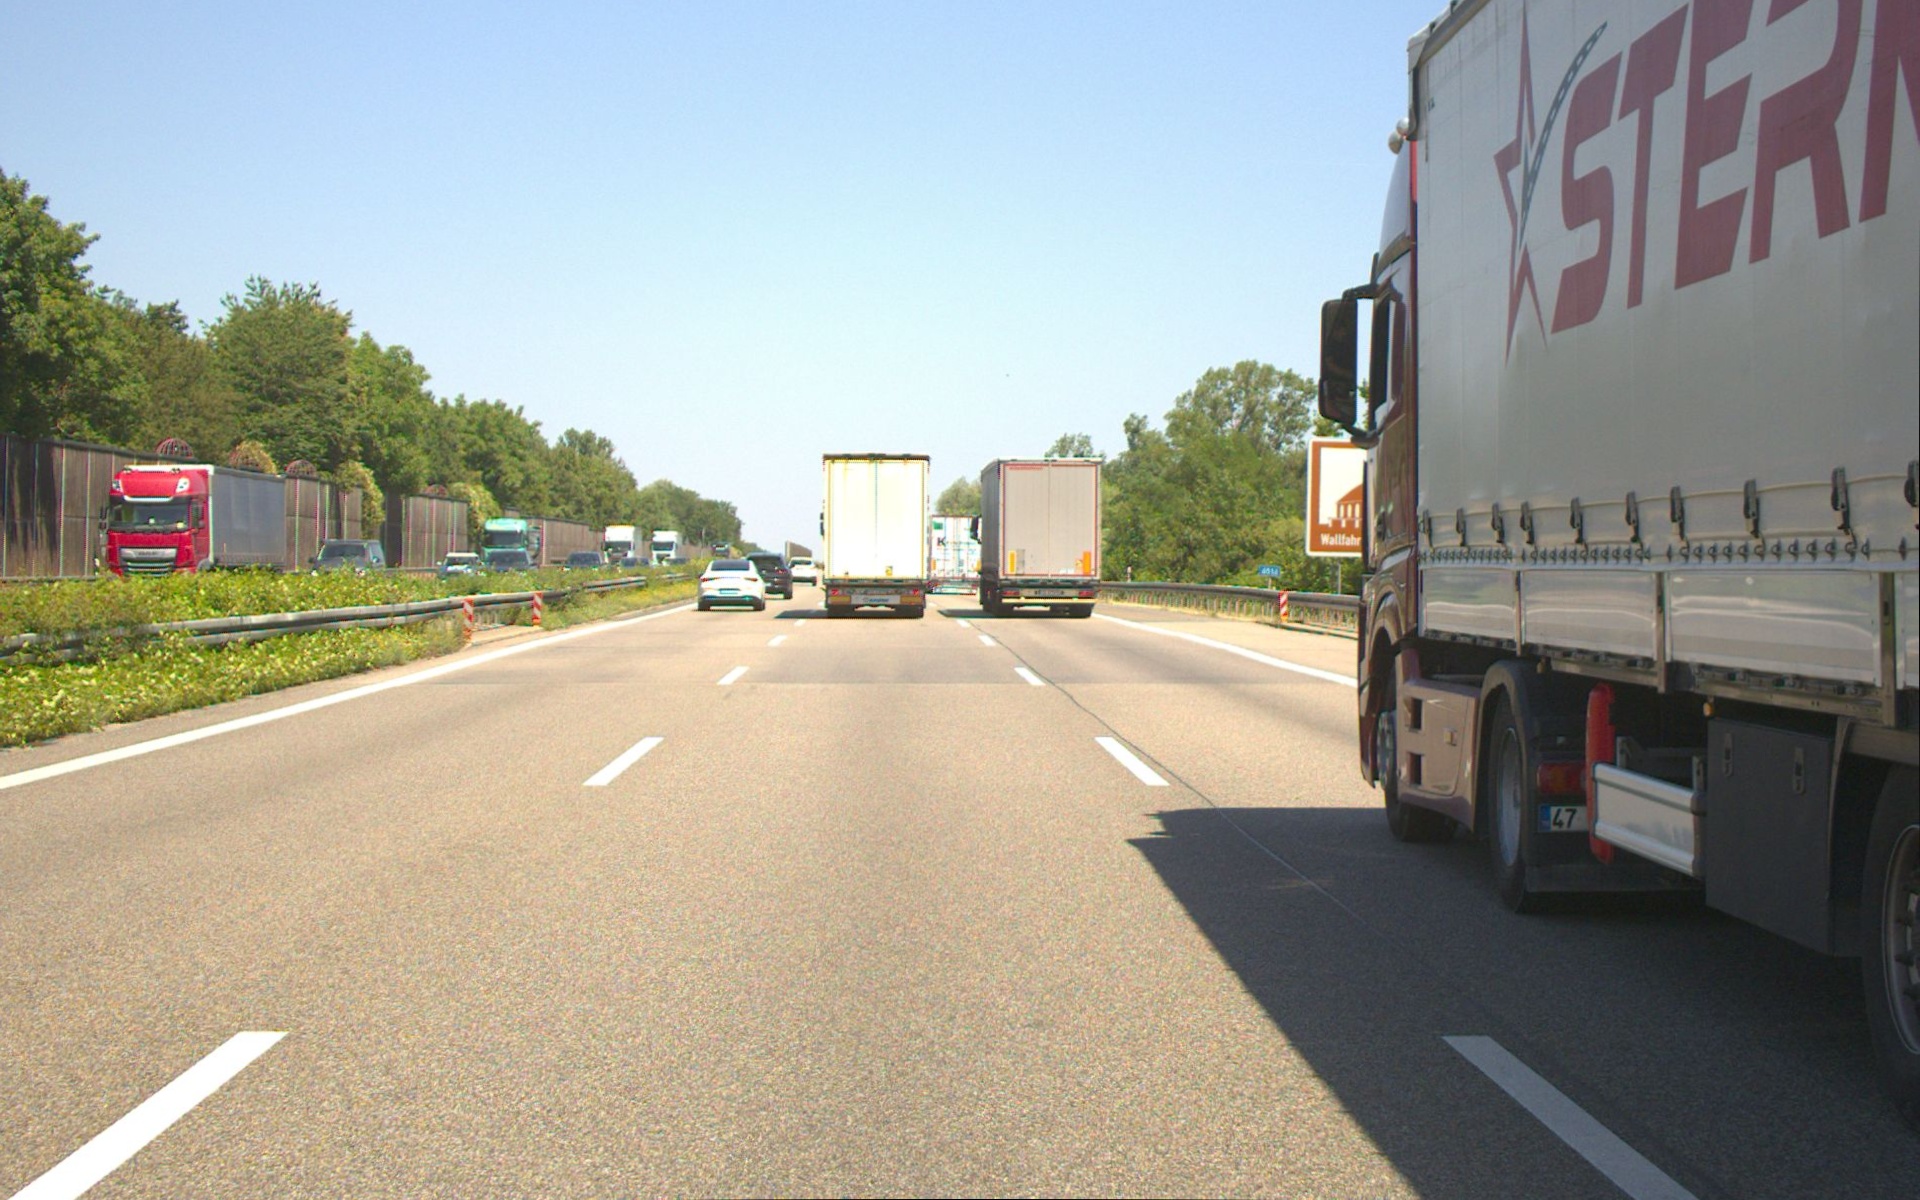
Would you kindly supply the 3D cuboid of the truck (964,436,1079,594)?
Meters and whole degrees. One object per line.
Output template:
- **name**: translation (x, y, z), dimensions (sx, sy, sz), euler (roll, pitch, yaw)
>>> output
- **truck**: translation (1.677, -2.339, 97.198), dimensions (2.691, 4.201, 7.839), euler (2, 0, -2)

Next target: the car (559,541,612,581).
- **car**: translation (-16.853, -1.756, 154.923), dimensions (1.993, 1.714, 4.533), euler (1, 1, -2)

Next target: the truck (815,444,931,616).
- **truck**: translation (-2.372, -1.746, 89.575), dimensions (2.706, 4.072, 13.475), euler (2, 1, -2)

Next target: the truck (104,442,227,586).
- **truck**: translation (-23.128, -2.476, 100.233), dimensions (2.487, 4.073, 4.677), euler (0, 0, 0)

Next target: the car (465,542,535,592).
- **car**: translation (-16.275, -1.166, 121.738), dimensions (1.993, 1.714, 4.246), euler (1, 1, -2)

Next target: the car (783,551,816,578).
- **car**: translation (-9.597, -2.117, 205.763), dimensions (1.855, 1.611, 4.001), euler (0, 1, -4)

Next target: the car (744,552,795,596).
- **car**: translation (-7.102, -0.975, 128.236), dimensions (1.855, 1.611, 4.000), euler (1, 1, -3)

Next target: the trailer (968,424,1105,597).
- **trailer**: translation (1.906, -2.275, 91.497), dimensions (2.703, 4.201, 13.213), euler (2, 1, -2)

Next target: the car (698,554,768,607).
- **car**: translation (-6.464, -0.564, 98.091), dimensions (1.855, 1.481, 4.000), euler (1, 1, -2)

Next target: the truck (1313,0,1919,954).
- **truck**: translation (3.500, -0.690, 16.970), dimensions (2.707, 4.074, 6.965), euler (1, 1, 0)

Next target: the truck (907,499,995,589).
- **truck**: translation (-0.520, -2.892, 176.952), dimensions (3.373, 4.289, 11.452), euler (4, 1, -5)

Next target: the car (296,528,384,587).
- **car**: translation (-19.840, -1.361, 110.258), dimensions (1.993, 1.809, 5.220), euler (1, 1, -2)

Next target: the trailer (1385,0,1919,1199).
- **trailer**: translation (3.591, -0.619, 10.201), dimensions (2.707, 4.074, 14.152), euler (1, 1, -1)

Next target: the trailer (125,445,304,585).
- **trailer**: translation (-23.129, -2.555, 107.494), dimensions (2.496, 4.073, 14.271), euler (0, 1, 0)

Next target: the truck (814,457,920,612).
- **truck**: translation (-2.625, -1.789, 95.547), dimensions (2.727, 4.072, 7.278), euler (2, 0, -2)
